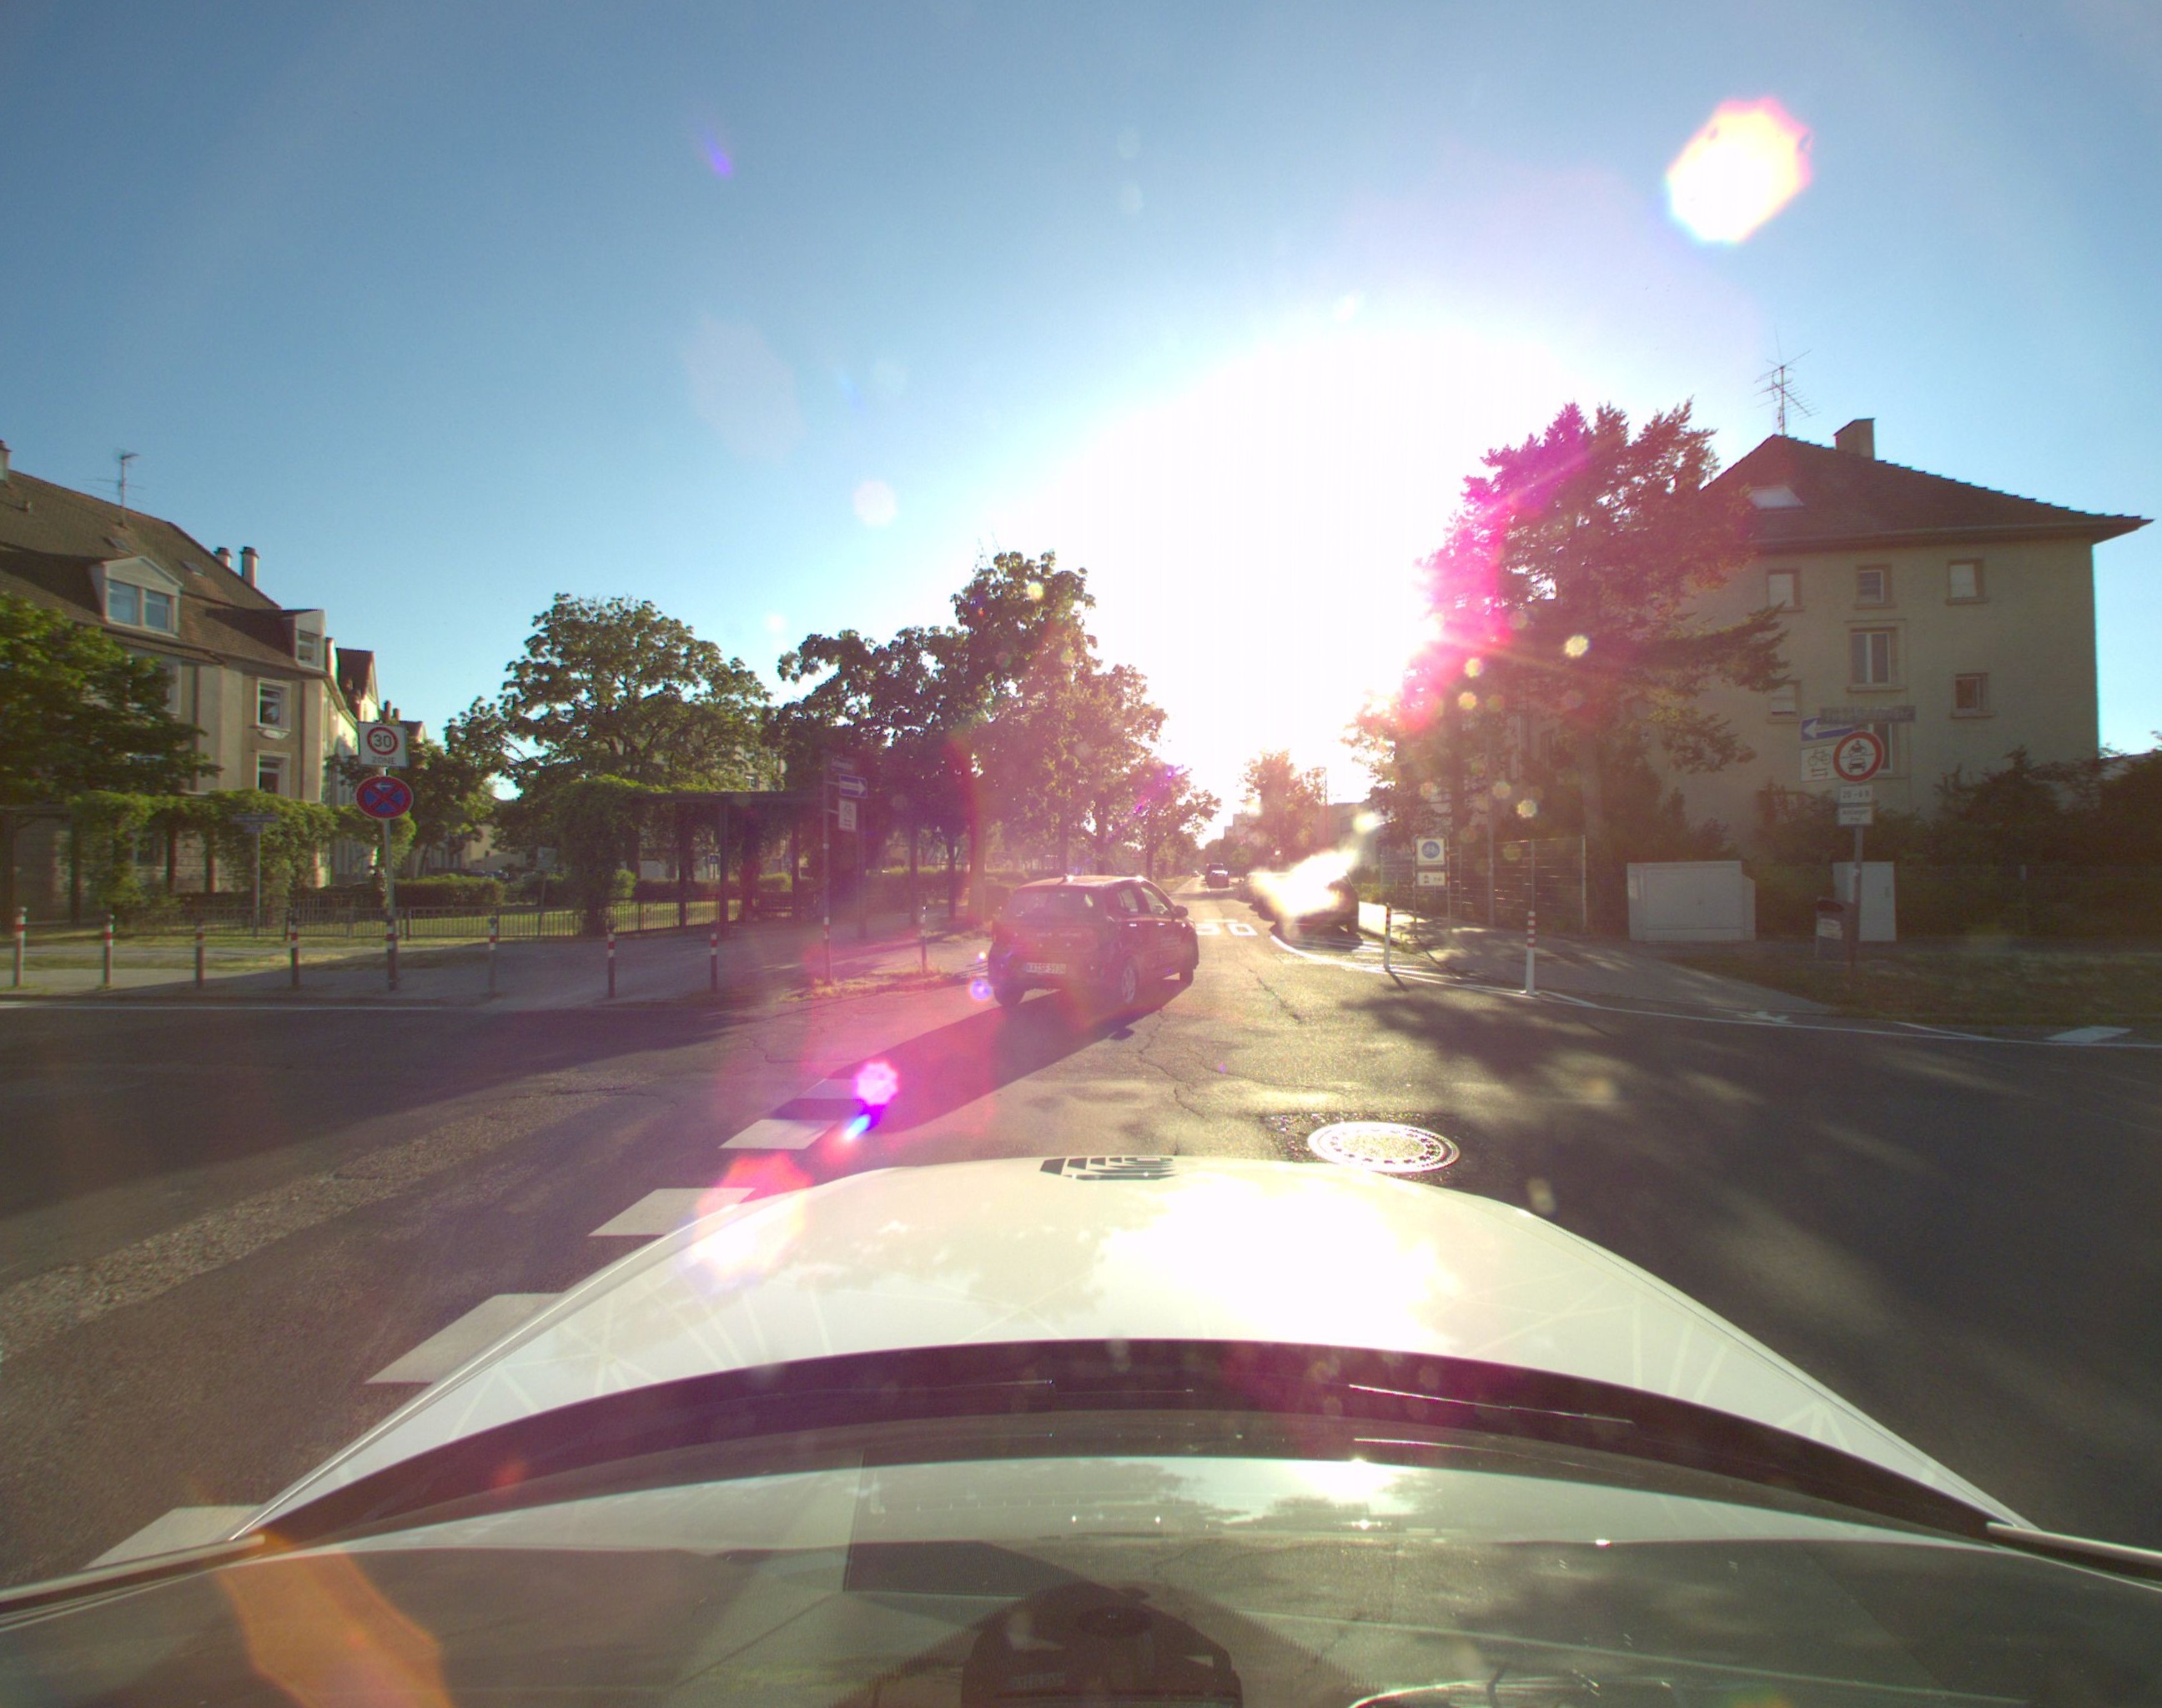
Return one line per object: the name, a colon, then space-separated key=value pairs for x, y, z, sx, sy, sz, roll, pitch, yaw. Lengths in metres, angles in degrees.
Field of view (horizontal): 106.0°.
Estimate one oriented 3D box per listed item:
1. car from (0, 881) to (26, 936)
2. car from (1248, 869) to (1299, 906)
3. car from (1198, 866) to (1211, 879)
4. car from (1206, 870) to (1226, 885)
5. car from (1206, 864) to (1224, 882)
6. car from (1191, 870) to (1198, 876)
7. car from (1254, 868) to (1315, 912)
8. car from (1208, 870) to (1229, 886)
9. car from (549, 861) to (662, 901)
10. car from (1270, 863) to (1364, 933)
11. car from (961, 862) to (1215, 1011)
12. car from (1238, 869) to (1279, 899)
car: x=-36.098 y=1.737 z=25.007 sx=1.795 sy=1.741 sz=4.098 roll=1 pitch=-1 yaw=9
car: x=8.355 y=1.440 z=35.567 sx=1.721 sy=1.518 sz=3.766 roll=-1 pitch=-1 yaw=7
car: x=20.420 y=3.091 z=134.901 sx=1.982 sy=2.124 sz=4.009 roll=-1 pitch=-1 yaw=8
car: x=13.866 y=2.417 z=83.707 sx=1.721 sy=1.518 sz=3.766 roll=-1 pitch=-1 yaw=6
car: x=15.917 y=2.220 z=96.886 sx=1.982 sy=2.124 sz=4.009 roll=-1 pitch=-1 yaw=8
car: x=31.480 y=5.233 z=226.165 sx=1.856 sy=1.618 sz=4.007 roll=-1 pitch=-1 yaw=7
car: x=7.592 y=1.322 z=30.711 sx=1.755 sy=1.526 sz=3.780 roll=-2 pitch=-2 yaw=7
car: x=13.413 y=2.292 z=79.370 sx=1.748 sy=1.518 sz=3.766 roll=-1 pitch=-1 yaw=6
car: x=-34.116 y=1.902 z=58.682 sx=6.693 sy=2.745 sz=2.301 roll=0 pitch=-1 yaw=-22
car: x=6.241 y=1.123 z=21.984 sx=1.807 sy=1.641 sz=4.225 roll=2 pitch=-1 yaw=8
car: x=0.295 y=0.902 z=10.489 sx=1.748 sy=1.526 sz=3.795 roll=-2 pitch=-2 yaw=26
car: x=9.684 y=1.609 z=44.723 sx=1.756 sy=1.526 sz=3.778 roll=-2 pitch=-2 yaw=6
